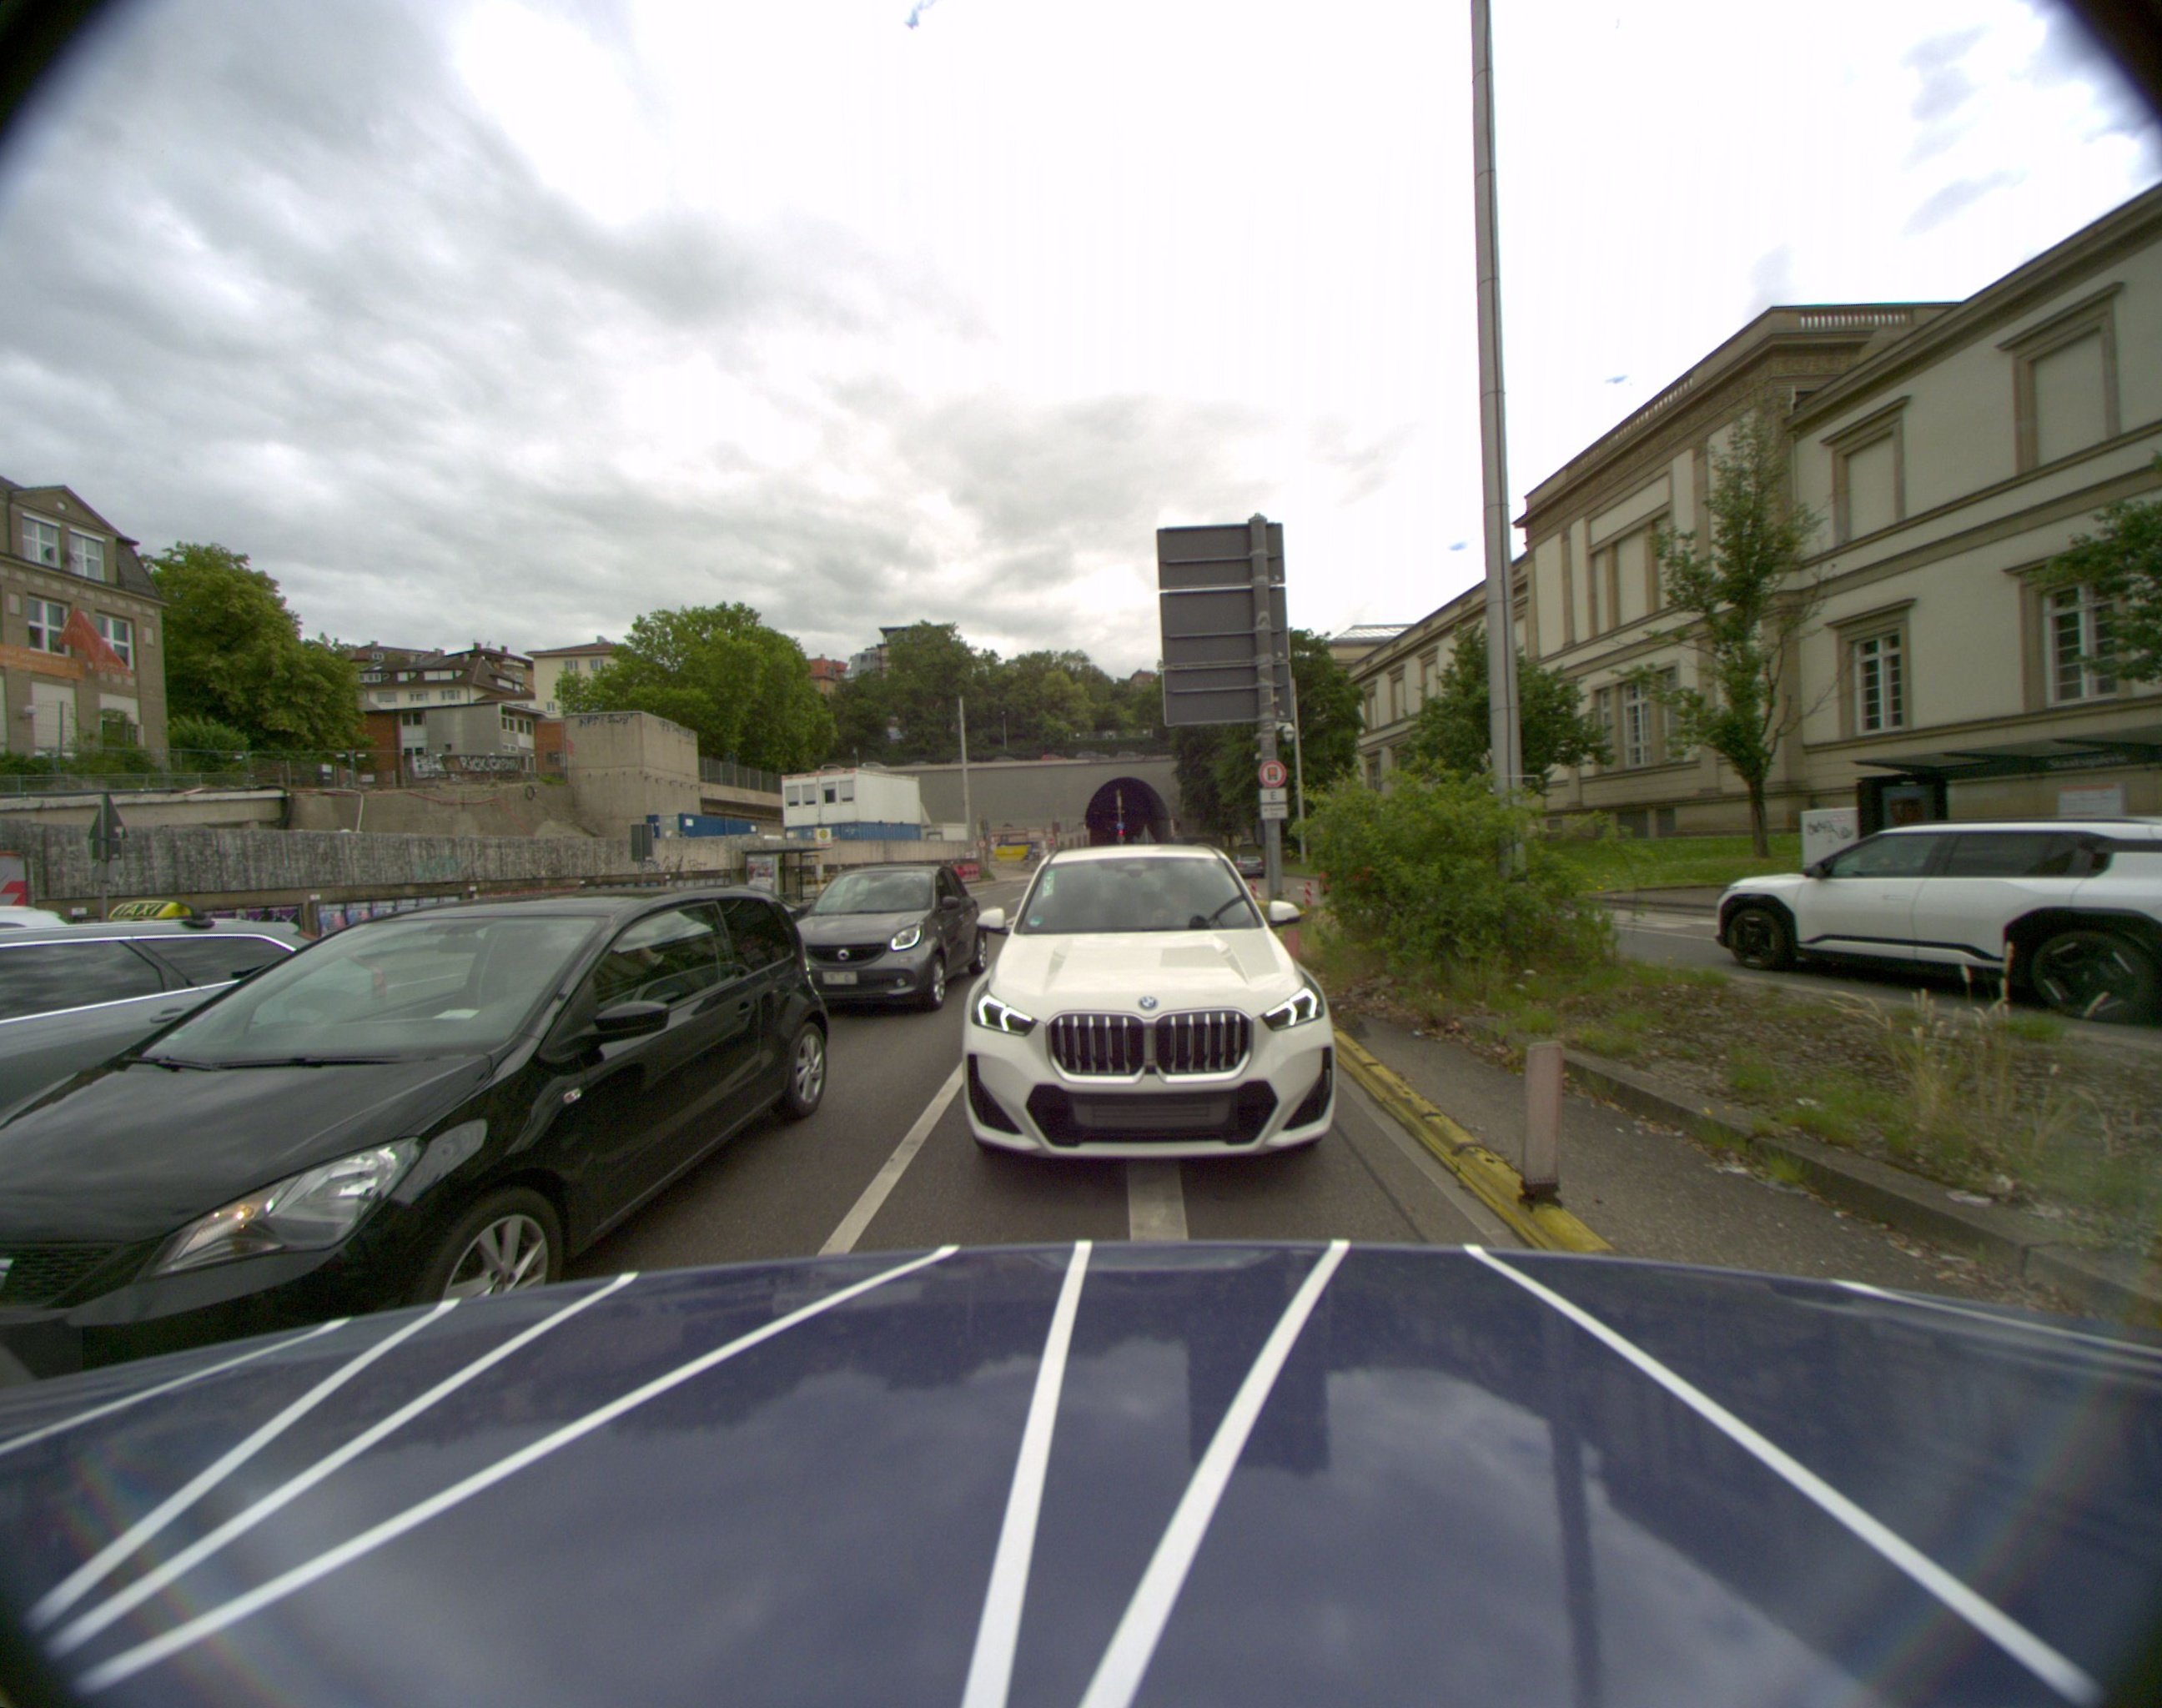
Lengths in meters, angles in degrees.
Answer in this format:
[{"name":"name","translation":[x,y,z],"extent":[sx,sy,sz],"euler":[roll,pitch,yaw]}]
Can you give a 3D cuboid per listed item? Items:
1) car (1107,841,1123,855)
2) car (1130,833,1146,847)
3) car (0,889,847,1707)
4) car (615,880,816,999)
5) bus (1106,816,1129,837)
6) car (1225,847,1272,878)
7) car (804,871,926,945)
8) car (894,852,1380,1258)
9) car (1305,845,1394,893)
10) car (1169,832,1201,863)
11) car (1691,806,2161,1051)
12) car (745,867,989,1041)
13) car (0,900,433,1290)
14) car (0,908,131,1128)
[{"name":"car","translation":[3.843,-0.676,85.069],"extent":[1.680,1.450,3.807],"euler":[-2,1,3]},{"name":"car","translation":[7.470,-1.763,99.309],"extent":[1.946,1.714,4.000],"euler":[-2,1,4]},{"name":"car","translation":[-2.570,1.022,3.345],"extent":[1.829,1.450,3.700],"euler":[-2,1,1]},{"name":"car","translation":[-5.391,1.196,11.580],"extent":[1.665,1.423,2.714],"euler":[-2,1,1]},{"name":"bus","translation":[6.204,-4.705,131.449],"extent":[3.171,3.129,9.118],"euler":[-2,1,-1]},{"name":"car","translation":[9.593,0.449,43.682],"extent":[1.778,1.609,3.802],"euler":[-2,1,-1]},{"name":"car","translation":[-4.916,1.171,17.815],"extent":[1.680,1.358,3.806],"euler":[-2,1,1]},{"name":"car","translation":[0.264,0.851,5.036],"extent":[1.987,1.615,3.670],"euler":[-2,1,1]},{"name":"car","translation":[9.075,0.480,25.937],"extent":[1.646,1.469,3.574],"euler":[-2,0,-2]},{"name":"car","translation":[8.907,-0.568,65.416],"extent":[2.203,2.493,4.758],"euler":[-2,1,2]},{"name":"car","translation":[8.287,0.468,6.945],"extent":[1.875,1.681,4.267],"euler":[-2,1,-2]},{"name":"car","translation":[-2.249,0.985,8.991],"extent":[1.720,1.535,3.575],"euler":[-2,0,2]},{"name":"car","translation":[-5.855,1.212,3.306],"extent":[1.829,1.615,4.808],"euler":[-2,1,1]},{"name":"car","translation":[-9.105,1.325,4.448],"extent":[1.680,1.615,4.209],"euler":[-2,1,1]}]
